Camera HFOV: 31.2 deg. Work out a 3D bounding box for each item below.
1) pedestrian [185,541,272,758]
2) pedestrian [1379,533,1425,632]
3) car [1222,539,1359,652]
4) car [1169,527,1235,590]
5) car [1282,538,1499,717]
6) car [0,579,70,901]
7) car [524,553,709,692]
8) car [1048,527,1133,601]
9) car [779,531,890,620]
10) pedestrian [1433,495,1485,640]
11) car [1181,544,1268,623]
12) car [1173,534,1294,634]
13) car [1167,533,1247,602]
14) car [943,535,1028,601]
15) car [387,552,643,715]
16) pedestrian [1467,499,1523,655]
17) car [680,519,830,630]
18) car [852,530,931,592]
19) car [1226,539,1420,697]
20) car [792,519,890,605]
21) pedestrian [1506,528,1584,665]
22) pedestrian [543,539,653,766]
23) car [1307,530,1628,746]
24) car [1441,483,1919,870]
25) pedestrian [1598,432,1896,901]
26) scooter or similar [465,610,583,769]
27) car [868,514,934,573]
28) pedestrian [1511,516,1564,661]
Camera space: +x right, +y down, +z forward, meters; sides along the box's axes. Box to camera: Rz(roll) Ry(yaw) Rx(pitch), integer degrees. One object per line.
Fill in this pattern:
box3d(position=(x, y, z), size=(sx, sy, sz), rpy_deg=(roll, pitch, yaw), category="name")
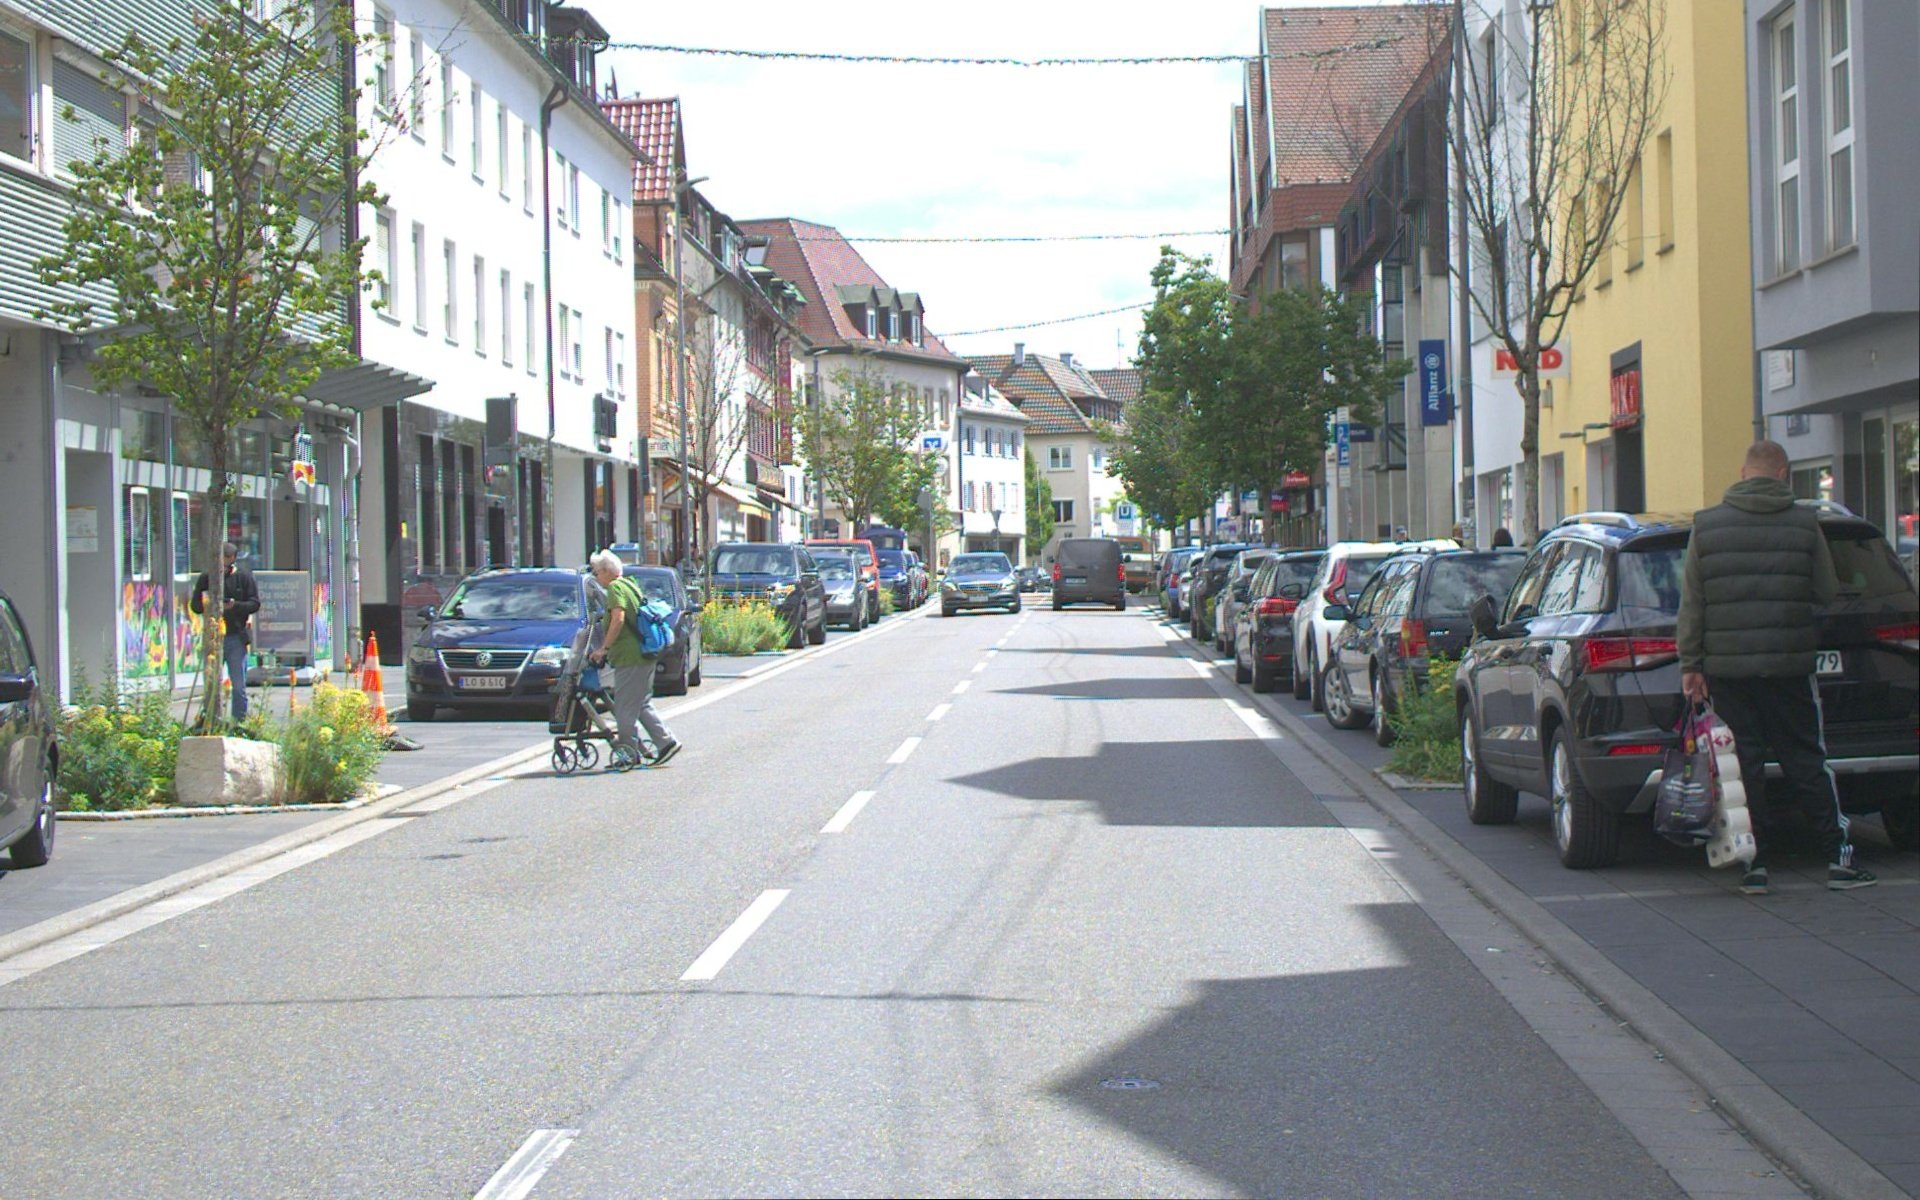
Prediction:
box3d(position=(-5.988, 0.395, 28.176), size=(0.548, 1.751, 0.729), rpy_deg=(1, 0, -1), category="pedestrian")
box3d(position=(7.866, -0.310, 61.241), size=(0.741, 1.731, 0.757), rpy_deg=(1, 0, 3), category="pedestrian")
box3d(position=(4.520, -0.067, 47.504), size=(1.721, 1.471, 4.353), rpy_deg=(1, 0, 4), category="car")
box3d(position=(6.158, -1.076, 87.723), size=(1.609, 1.527, 3.794), rpy_deg=(-2, 1, 4), category="car")
box3d(position=(3.998, 0.234, 32.421), size=(1.689, 1.568, 3.756), rpy_deg=(1, 0, 2), category="car")
box3d(position=(-5.182, 0.622, 15.947), size=(1.596, 1.441, 3.558), rpy_deg=(1, 0, -7), category="car")
box3d(position=(-3.948, 0.221, 40.067), size=(1.790, 1.498, 4.178), rpy_deg=(1, 1, -1), category="car")
box3d(position=(3.348, -0.927, 88.888), size=(2.041, 1.842, 4.999), rpy_deg=(1, 0, 1), category="car")
box3d(position=(-2.543, -0.491, 70.497), size=(1.816, 1.749, 4.463), rpy_deg=(1, 0, 4), category="car")
box3d(position=(6.338, -0.412, 43.704), size=(0.588, 1.834, 0.576), rpy_deg=(1, 0, 3), category="pedestrian")
box3d(position=(5.459, -0.346, 71.394), size=(1.721, 1.571, 4.428), rpy_deg=(1, 0, 4), category="car")
box3d(position=(4.478, -0.268, 56.691), size=(1.721, 1.571, 4.109), rpy_deg=(1, 0, 1), category="car")
box3d(position=(5.506, -0.713, 76.855), size=(1.721, 1.488, 4.108), rpy_deg=(1, 0, 4), category="car")
box3d(position=(0.654, -0.790, 84.595), size=(1.905, 1.558, 4.645), rpy_deg=(1, 0, 3), category="car")
box3d(position=(-4.377, 0.285, 34.509), size=(1.790, 1.507, 4.712), rpy_deg=(0, 1, 2), category="car")
box3d(position=(6.354, -0.270, 40.840), size=(0.588, 1.834, 0.576), rpy_deg=(1, 0, 3), category="pedestrian")
box3d(position=(-3.379, -0.421, 57.454), size=(1.816, 1.749, 4.668), rpy_deg=(1, 0, 5), category="car")
box3d(position=(-1.791, -1.048, 91.066), size=(1.799, 1.592, 4.389), rpy_deg=(0, 1, 3), category="car")
box3d(position=(3.827, 0.142, 36.849), size=(1.689, 1.467, 4.524), rpy_deg=(1, 2, 2), category="car")
box3d(position=(-2.681, -0.863, 78.377), size=(1.816, 1.882, 4.840), rpy_deg=(1, 0, 3), category="car")
box3d(position=(6.701, -0.042, 39.393), size=(0.750, 1.548, 0.726), rpy_deg=(-1, 0, 2), category="pedestrian")
box3d(position=(-2.607, 0.373, 24.822), size=(0.731, 1.612, 0.651), rpy_deg=(1, 0, -2), category="pedestrian")
box3d(position=(3.812, 0.257, 26.483), size=(1.689, 1.435, 4.296), rpy_deg=(-3, 0, -1), category="car")
box3d(position=(3.553, 0.278, 16.848), size=(1.799, 1.598, 4.204), rpy_deg=(-3, 1, 1), category="car")
box3d(position=(3.269, 0.266, 14.362), size=(0.975, 1.857, 0.864), rpy_deg=(-3, 0, 1), category="pedestrian")
box3d(position=(-3.139, 0.639, 24.803), size=(0.781, 1.122, 0.630), rpy_deg=(1, 0, -2), category="scooter or similar")
box3d(position=(-1.647, -1.582, 96.705), size=(1.799, 1.598, 4.352), rpy_deg=(-1, 1, -1), category="car")
box3d(position=(7.371, -0.143, 43.916), size=(0.588, 1.834, 0.576), rpy_deg=(1, 0, 3), category="pedestrian")
